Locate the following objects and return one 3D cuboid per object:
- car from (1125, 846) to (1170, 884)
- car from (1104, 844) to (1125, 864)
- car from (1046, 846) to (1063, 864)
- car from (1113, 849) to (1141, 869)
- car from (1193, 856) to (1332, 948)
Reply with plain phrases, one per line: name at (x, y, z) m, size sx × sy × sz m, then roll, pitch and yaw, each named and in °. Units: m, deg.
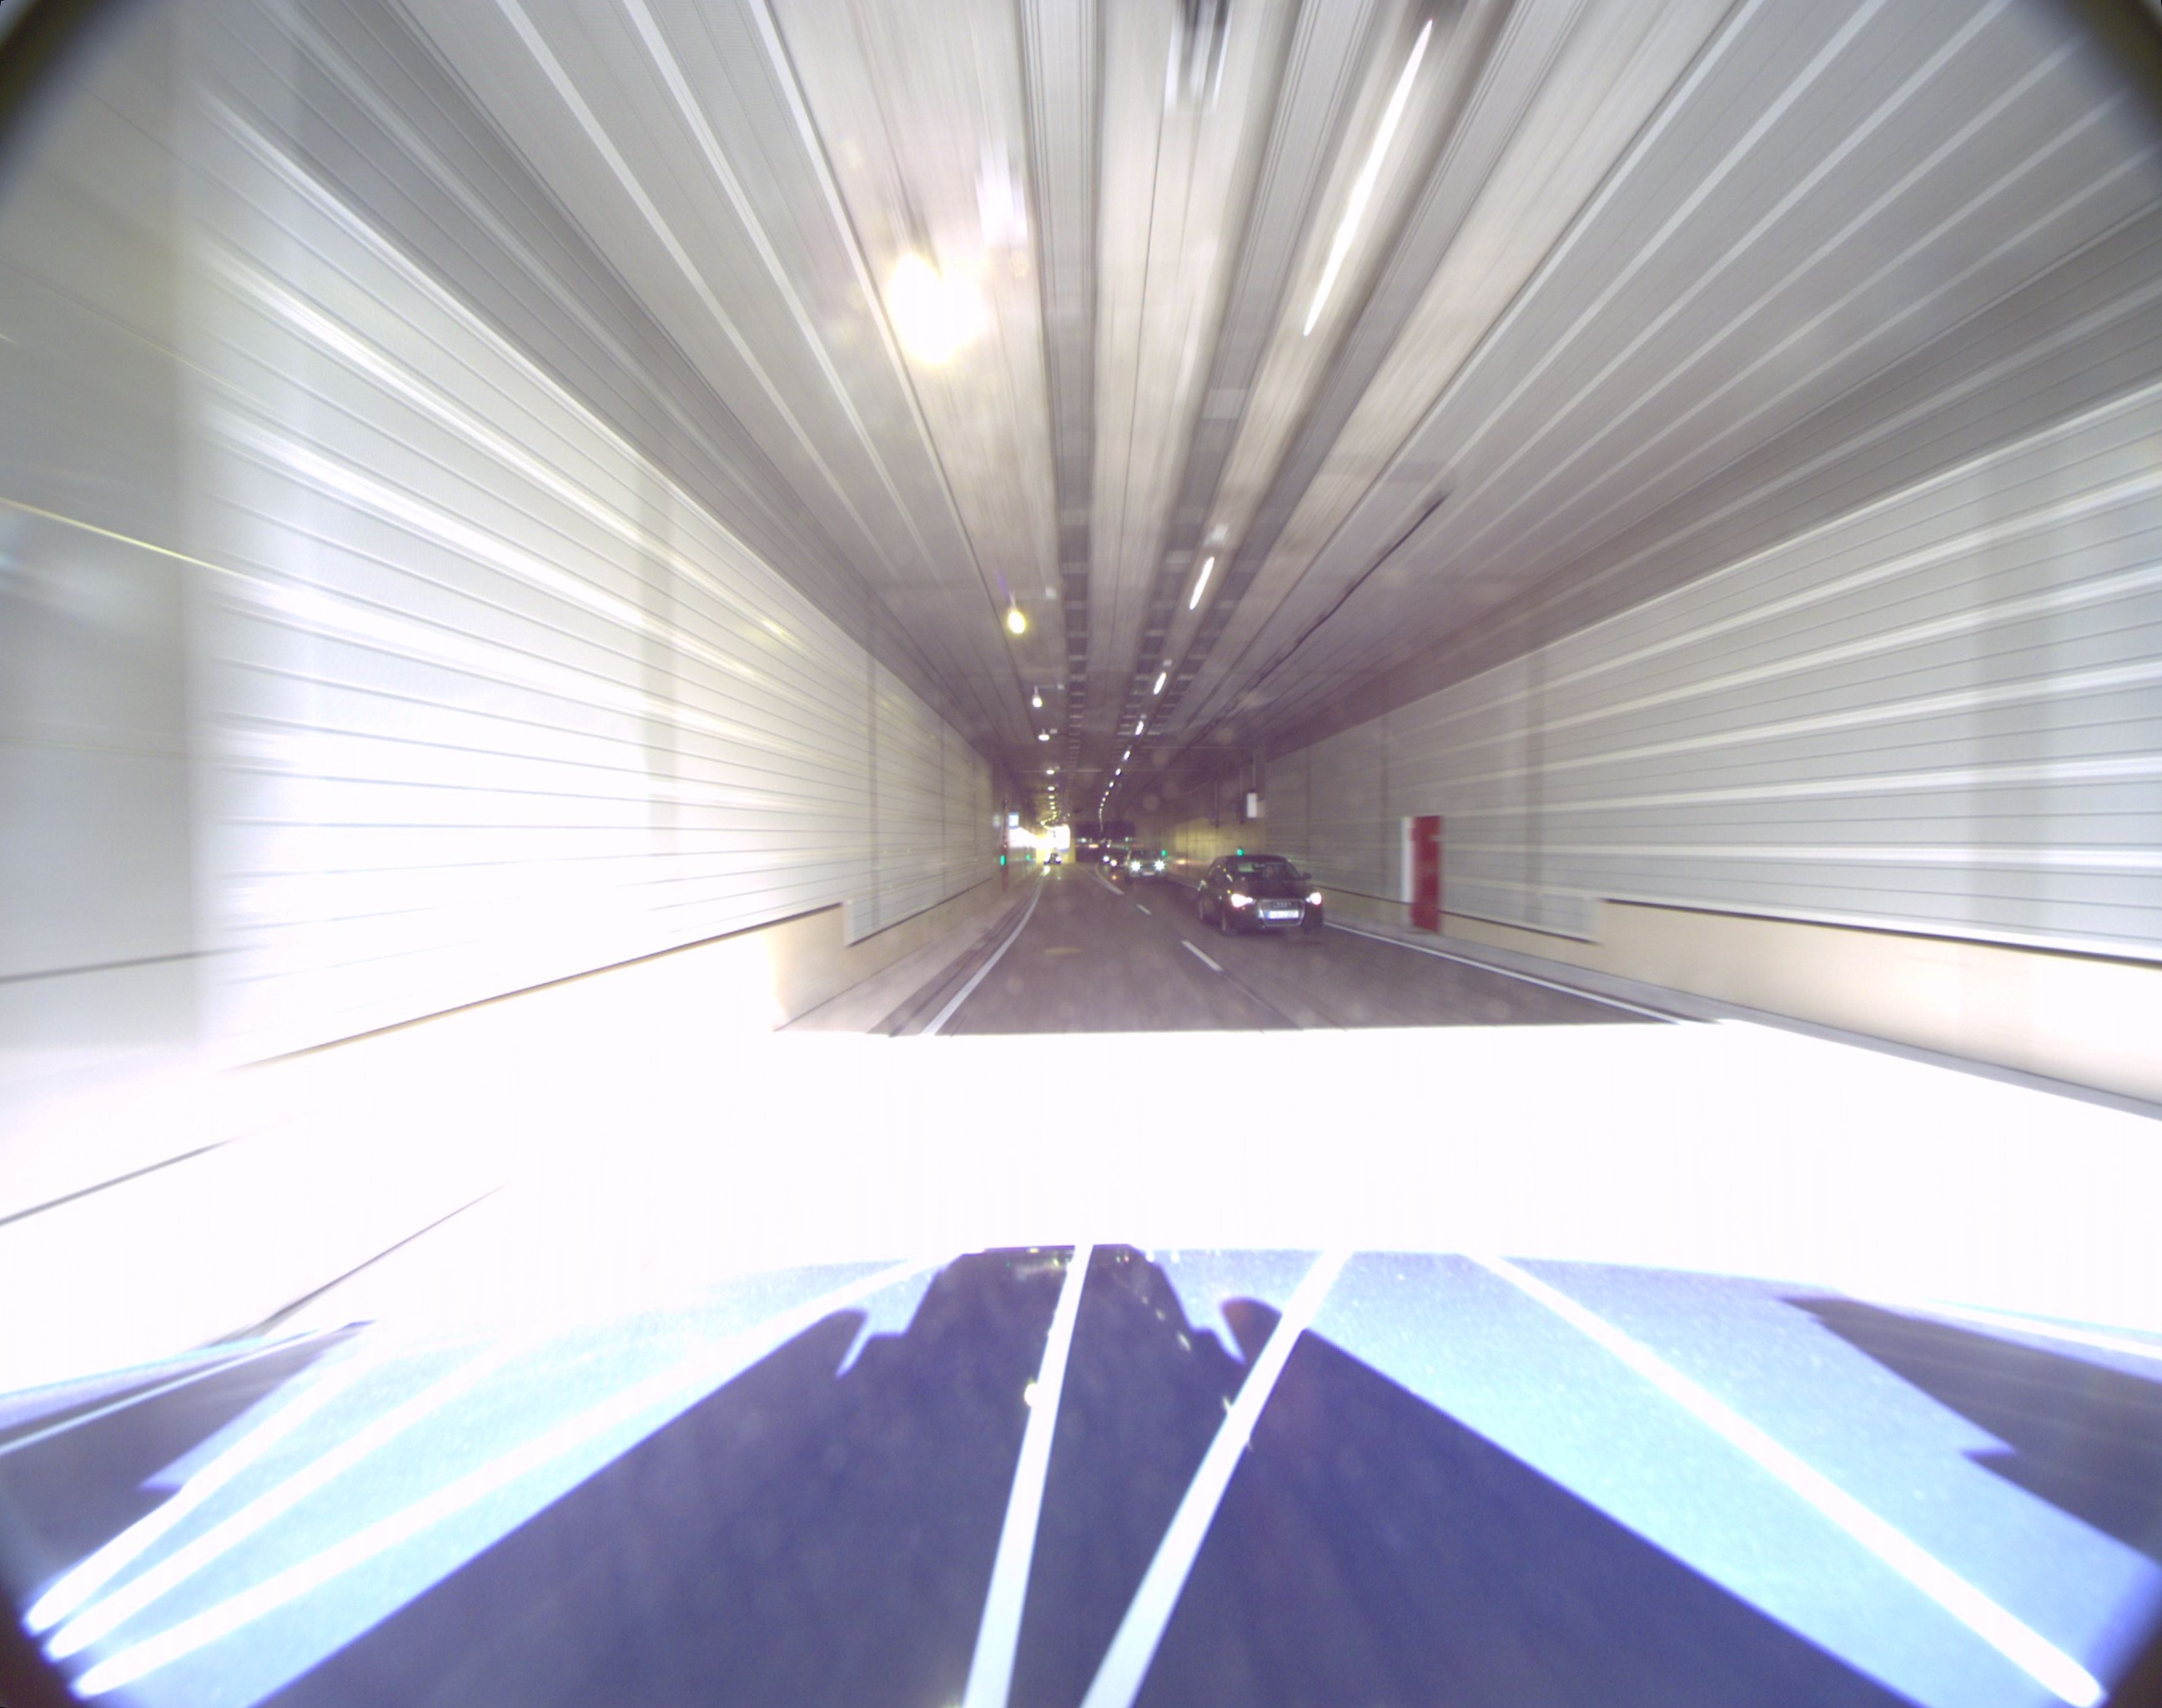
car at (3.049, 0.502, 35.663) m, size 1.854 × 1.658 × 3.971 m, roll -1°, pitch 0°, yaw 2°
car at (3.642, -0.035, 83.666) m, size 1.999 × 2.002 × 3.999 m, roll -2°, pitch 1°, yaw 0°
car at (-3.056, 0.112, 89.286) m, size 1.785 × 2.002 × 3.908 m, roll -2°, pitch 1°, yaw 1°
car at (3.501, 0.411, 58.421) m, size 1.998 × 1.407 × 4.001 m, roll -2°, pitch 0°, yaw 2°
car at (3.236, 0.783, 14.264) m, size 1.700 × 1.410 × 3.888 m, roll -2°, pitch 0°, yaw 1°
